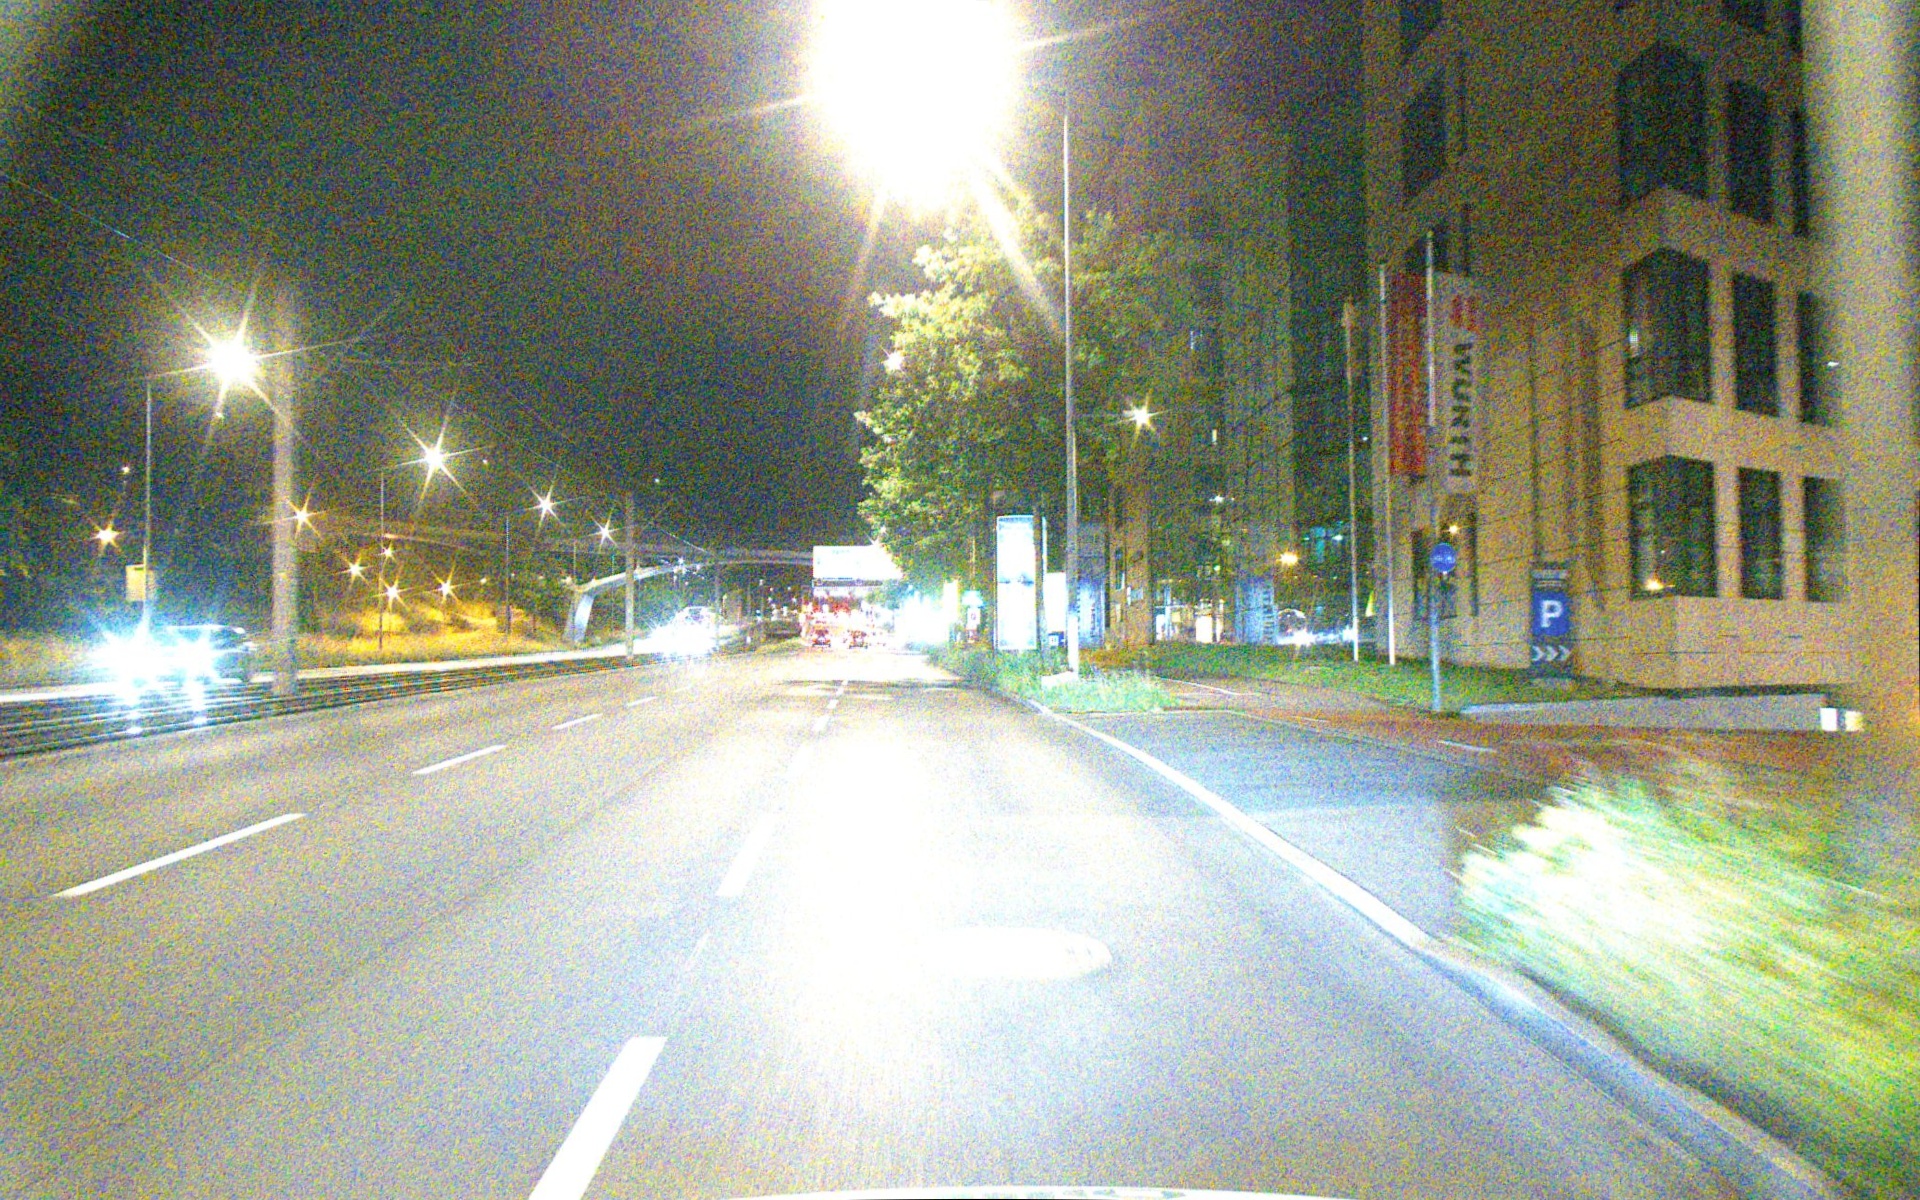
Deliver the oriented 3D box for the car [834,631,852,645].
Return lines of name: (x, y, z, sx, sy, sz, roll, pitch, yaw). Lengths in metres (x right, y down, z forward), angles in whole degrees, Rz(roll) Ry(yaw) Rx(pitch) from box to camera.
car: (-13.343, 4.304, 189.230, 1.954, 1.580, 3.997, 0, -1, -3)

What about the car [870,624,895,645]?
car: (-8.235, 3.687, 176.375, 2.377, 2.150, 4.825, 0, 0, 0)

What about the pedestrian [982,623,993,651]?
pedestrian: (2.064, 2.816, 124.904, 0.747, 2.099, 0.643, 0, -1, -3)

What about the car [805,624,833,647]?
car: (-13.131, 3.293, 154.724, 2.216, 2.049, 4.825, 0, 0, 0)

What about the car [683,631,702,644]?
car: (-31.384, 4.392, 194.093, 1.873, 1.499, 3.768, 0, 0, -4)

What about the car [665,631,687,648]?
car: (-29.449, 4.103, 171.686, 1.826, 1.781, 3.698, 0, -1, -4)

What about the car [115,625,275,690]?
car: (-18.802, 1.381, 40.916, 1.829, 1.454, 4.954, 1, 0, -2)

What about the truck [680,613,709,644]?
truck: (-33.454, 3.571, 208.542, 2.980, 3.886, 4.932, 0, -1, -3)

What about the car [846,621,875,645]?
car: (-8.925, 2.975, 149.306, 2.308, 2.166, 4.825, 0, 0, 0)
